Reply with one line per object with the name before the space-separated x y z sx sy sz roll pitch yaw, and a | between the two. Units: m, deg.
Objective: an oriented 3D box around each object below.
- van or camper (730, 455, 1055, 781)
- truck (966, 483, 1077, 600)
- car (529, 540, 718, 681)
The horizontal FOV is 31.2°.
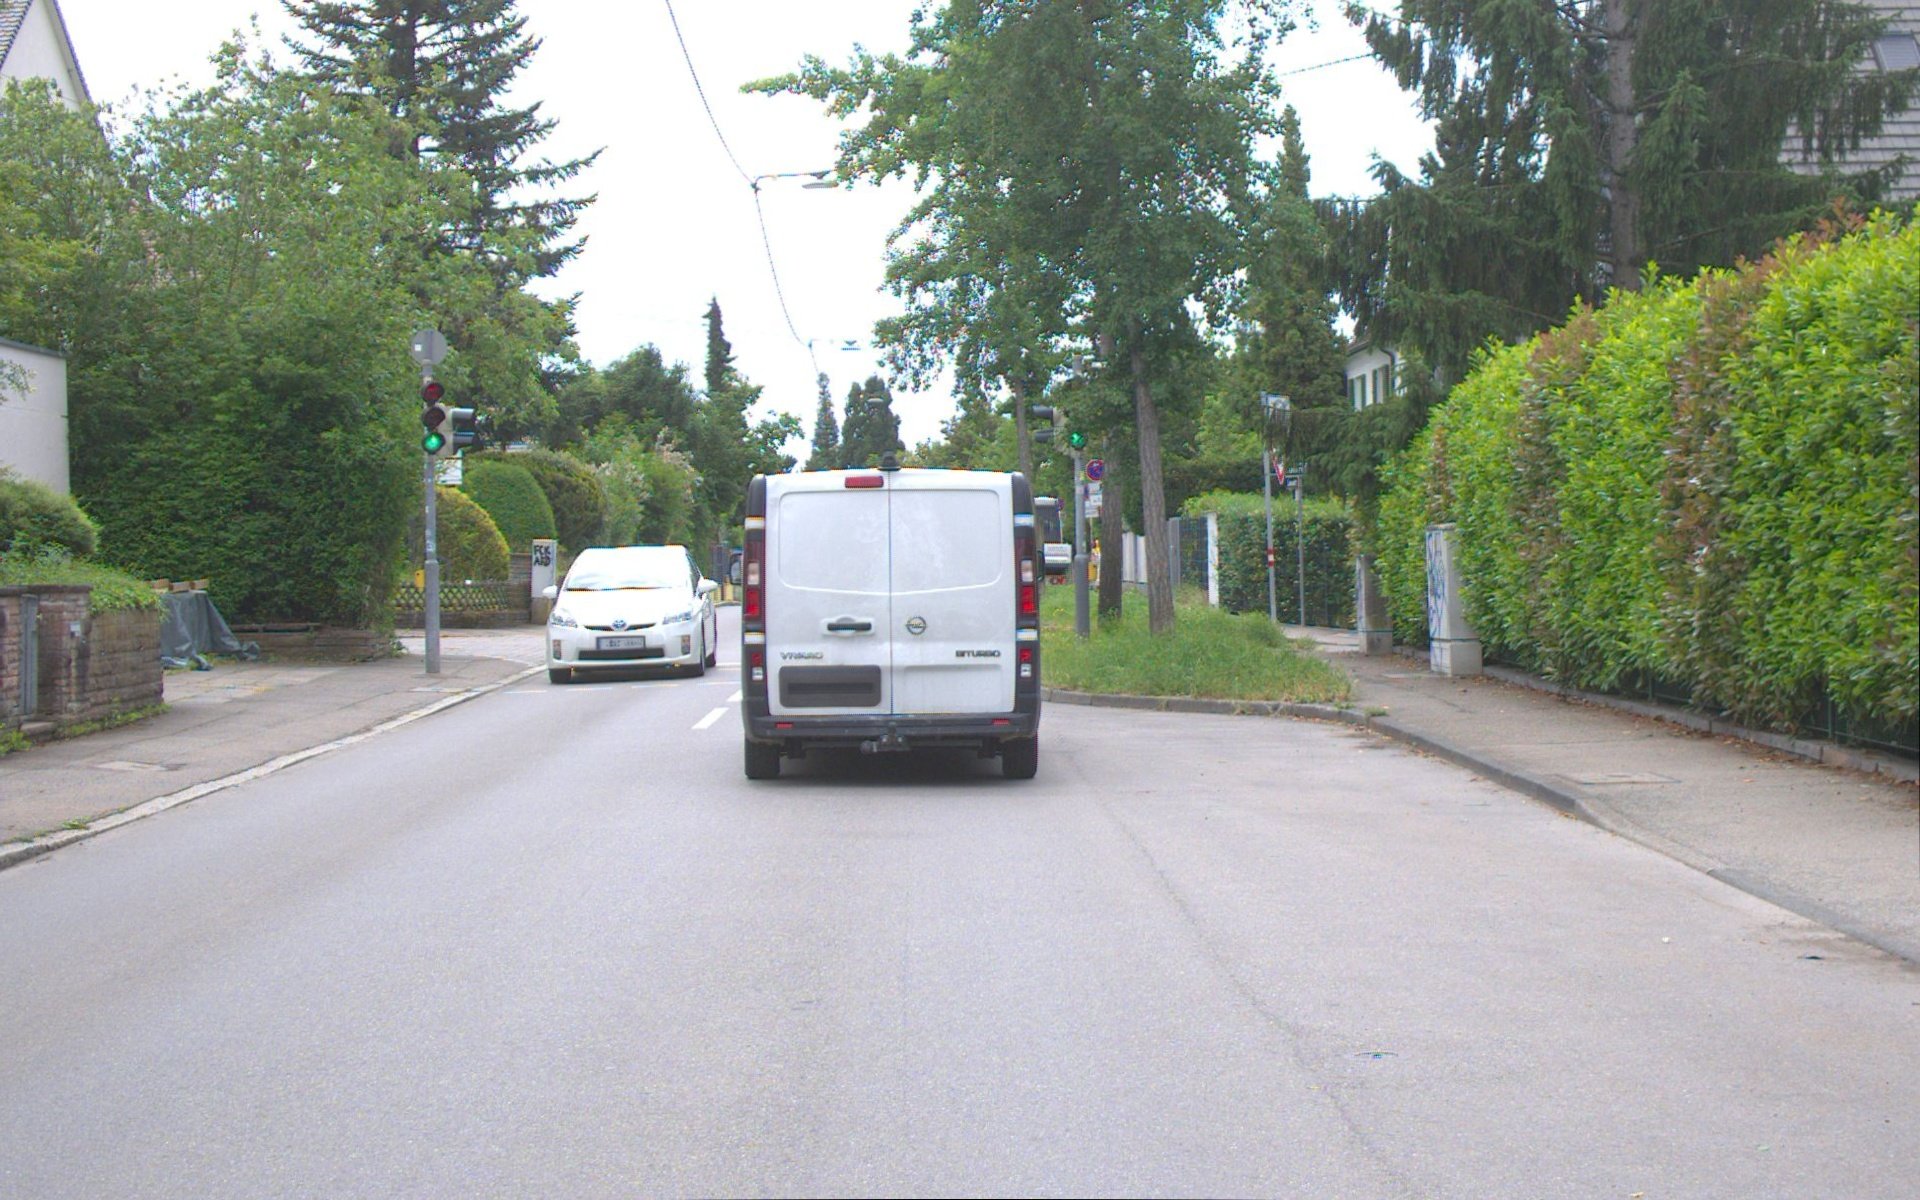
van or camper | -0.459 0.120 22.913 1.939 1.947 4.765 0 0 -1
truck | 1.297 -1.289 76.020 2.187 2.463 7.431 0 1 -1
car | -3.845 0.077 39.876 1.854 1.446 4.282 -3 1 -2
